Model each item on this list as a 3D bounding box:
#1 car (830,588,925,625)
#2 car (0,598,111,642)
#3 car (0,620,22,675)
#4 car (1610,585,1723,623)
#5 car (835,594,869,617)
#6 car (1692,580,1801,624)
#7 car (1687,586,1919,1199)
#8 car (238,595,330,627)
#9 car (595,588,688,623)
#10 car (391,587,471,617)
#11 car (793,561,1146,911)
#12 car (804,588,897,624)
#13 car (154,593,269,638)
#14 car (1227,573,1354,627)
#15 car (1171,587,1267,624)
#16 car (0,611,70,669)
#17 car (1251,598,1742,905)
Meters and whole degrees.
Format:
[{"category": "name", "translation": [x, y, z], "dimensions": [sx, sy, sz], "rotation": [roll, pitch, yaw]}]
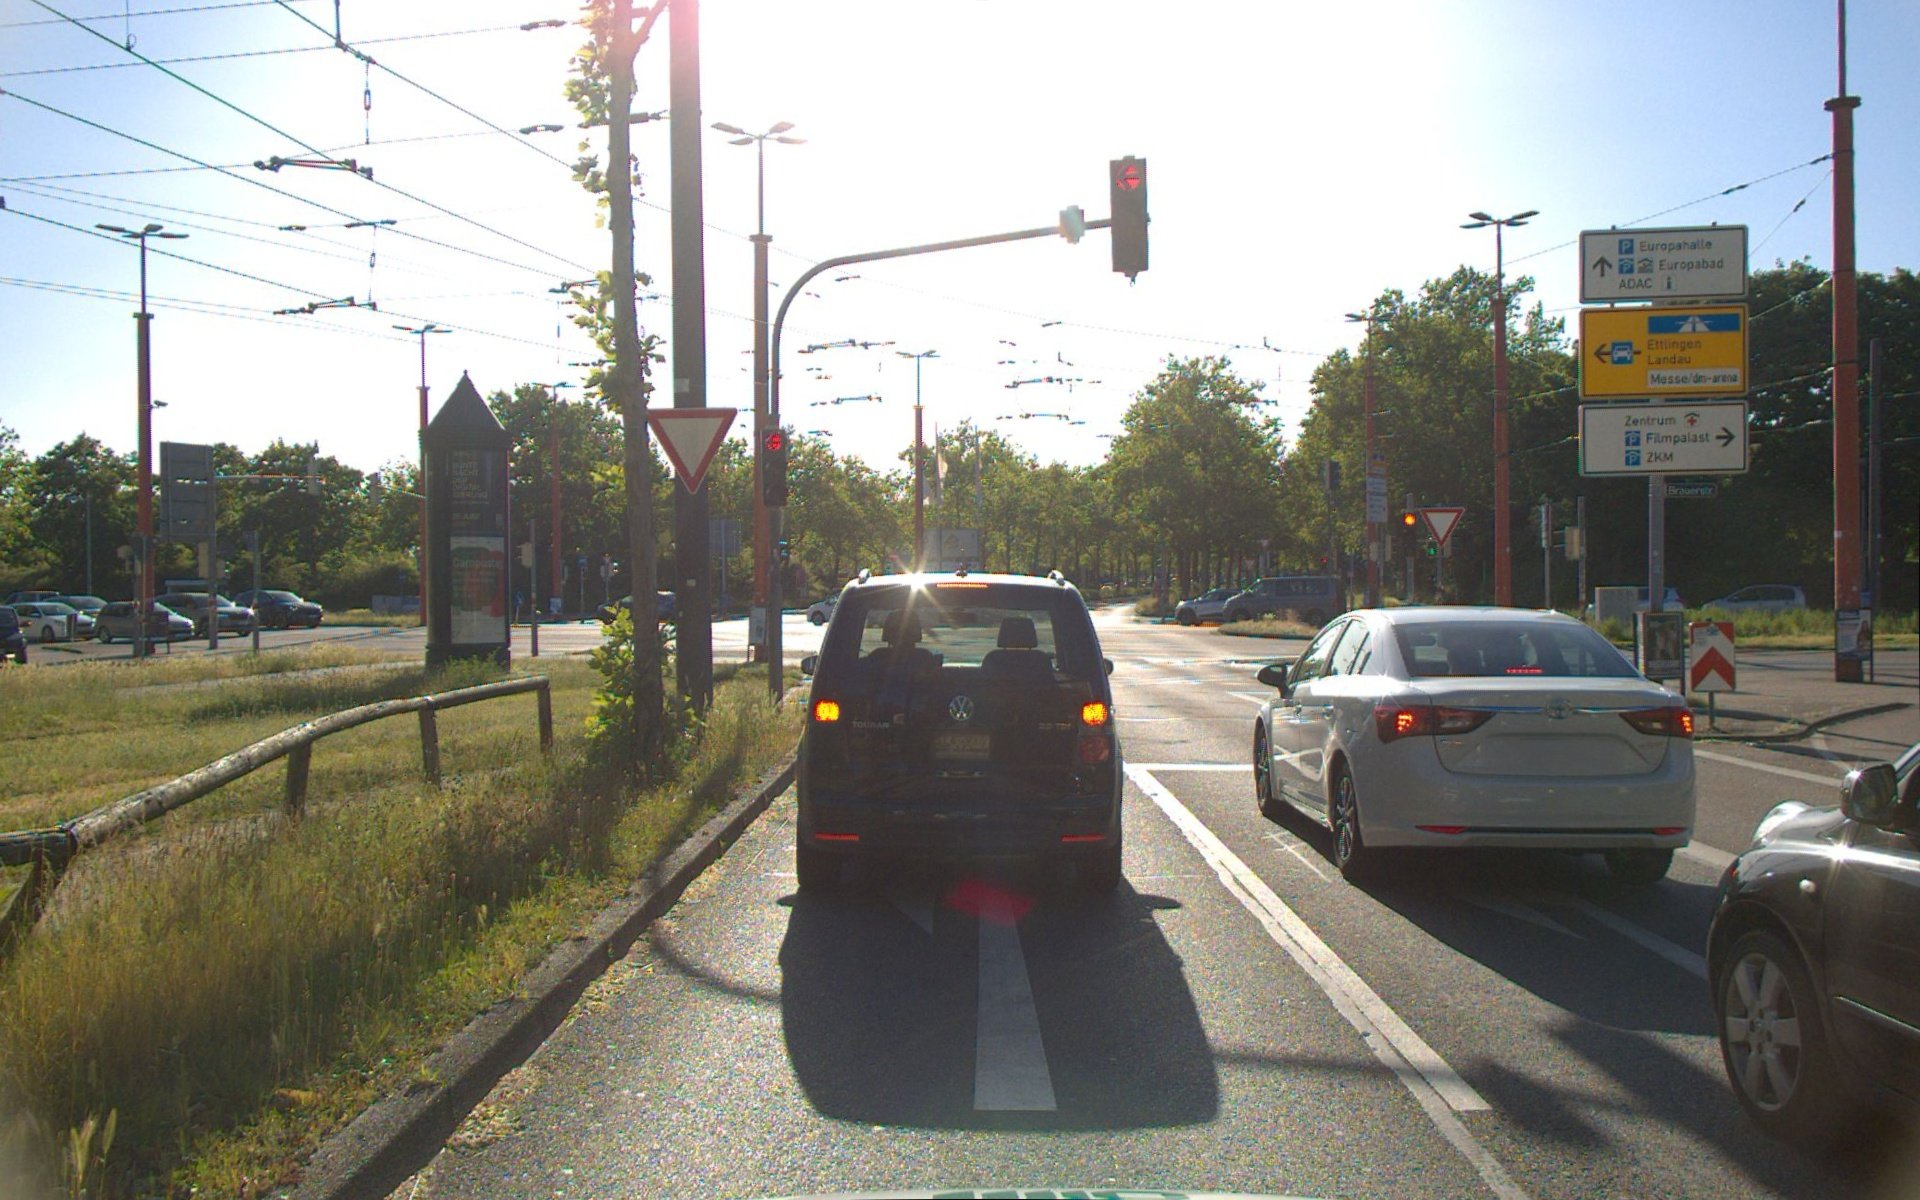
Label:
[{"category": "car", "translation": [-3.812, 0.282, 76.677], "dimensions": [4.039, 1.672, 1.851], "rotation": [0, 0, 26]}, {"category": "car", "translation": [-34.679, 0.734, 63.191], "dimensions": [4.091, 1.640, 1.867], "rotation": [0, 0, 25]}, {"category": "car", "translation": [-33.417, 1.570, 55.199], "dimensions": [4.750, 1.761, 1.992], "rotation": [0, 0, 37]}, {"category": "car", "translation": [26.009, 0.152, 60.894], "dimensions": [3.752, 1.286, 1.602], "rotation": [1, 0, 25]}, {"category": "car", "translation": [-8.050, 0.400, 123.528], "dimensions": [1.874, 1.664, 4.003], "rotation": [1, 0, 6]}, {"category": "car", "translation": [26.951, 0.062, 56.741], "dimensions": [3.327, 1.483, 1.463], "rotation": [0, 0, 26]}, {"category": "car", "translation": [3.177, 0.744, 3.555], "dimensions": [1.620, 1.526, 3.614], "rotation": [1, 0, 0]}, {"category": "car", "translation": [-29.269, 0.478, 71.584], "dimensions": [3.913, 1.353, 1.694], "rotation": [0, 0, 31]}, {"category": "car", "translation": [-14.976, 0.254, 77.756], "dimensions": [4.039, 1.626, 1.827], "rotation": [0, 0, 27]}, {"category": "car", "translation": [-28.270, 0.114, 88.357], "dimensions": [3.884, 1.466, 1.686], "rotation": [1, 0, 24]}, {"category": "car", "translation": [0.011, 0.634, 9.798], "dimensions": [1.666, 1.650, 3.896], "rotation": [0, 0, -1]}, {"category": "car", "translation": [-4.789, 0.260, 72.365], "dimensions": [3.743, 1.549, 1.694], "rotation": [0, 0, 25]}, {"category": "car", "translation": [-29.004, 0.577, 64.094], "dimensions": [3.907, 1.673, 1.999], "rotation": [0, 0, 24]}, {"category": "car", "translation": [12.830, -0.002, 64.167], "dimensions": [4.480, 2.049, 1.998], "rotation": [0, 0, 26]}, {"category": "car", "translation": [10.786, 0.216, 68.840], "dimensions": [3.662, 1.499, 1.599], "rotation": [0, 0, 26]}, {"category": "car", "translation": [-24.470, 1.011, 42.445], "dimensions": [1.762, 1.415, 2.848], "rotation": [0, 0, -1]}, {"category": "car", "translation": [2.974, 0.730, 10.127], "dimensions": [1.685, 1.463, 4.198], "rotation": [1, 0, 1]}]
